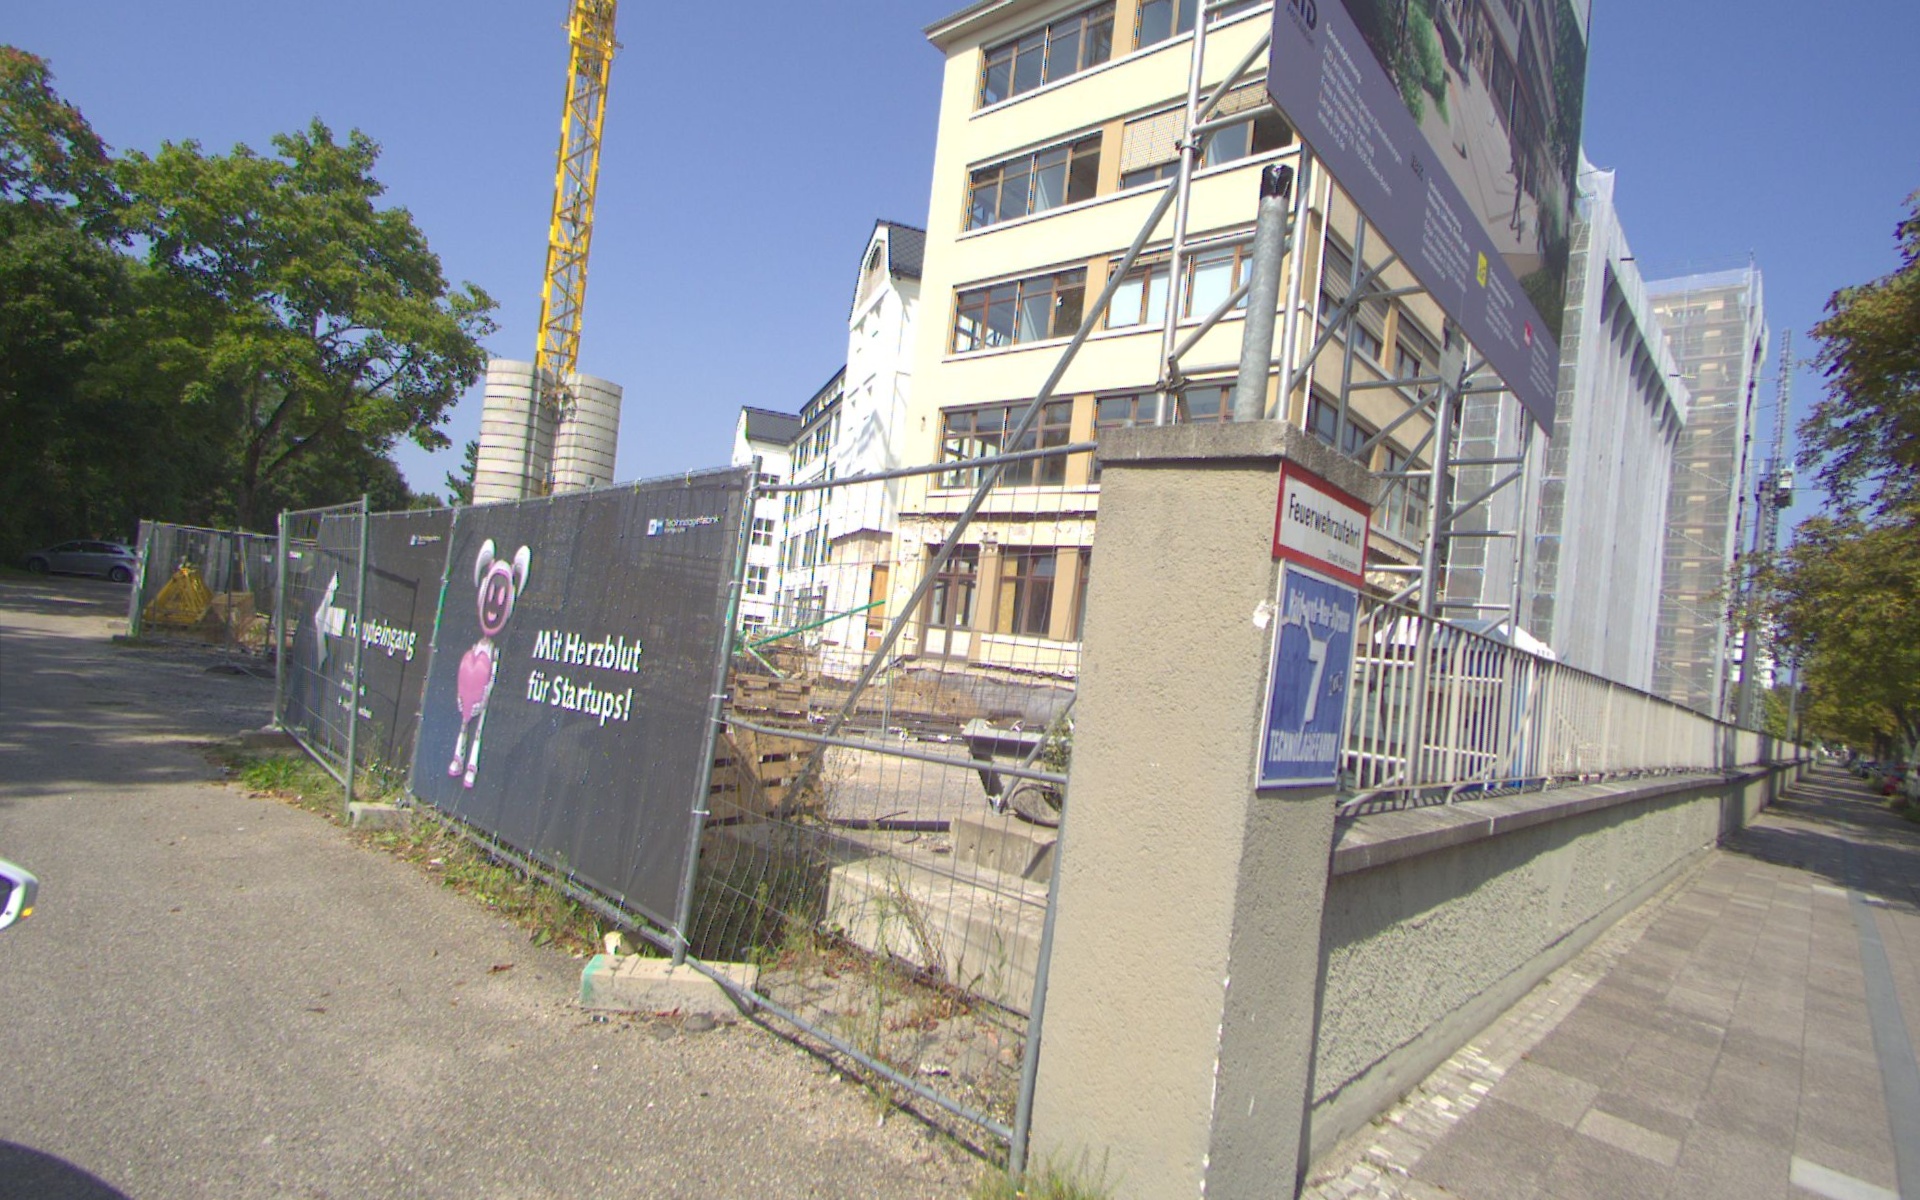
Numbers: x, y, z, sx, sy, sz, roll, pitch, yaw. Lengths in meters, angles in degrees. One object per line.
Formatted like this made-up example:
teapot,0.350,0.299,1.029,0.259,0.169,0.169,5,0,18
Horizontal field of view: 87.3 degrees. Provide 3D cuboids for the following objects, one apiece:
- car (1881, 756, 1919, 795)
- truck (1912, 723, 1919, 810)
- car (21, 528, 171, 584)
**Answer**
car,42.487,7.902,44.985,1.668,1.516,4.118,4,-5,41
truck,29.381,4.985,29.293,1.896,2.628,5.570,5,-3,40
car,-35.836,-1.787,41.869,4.103,1.630,1.993,8,-3,-20
